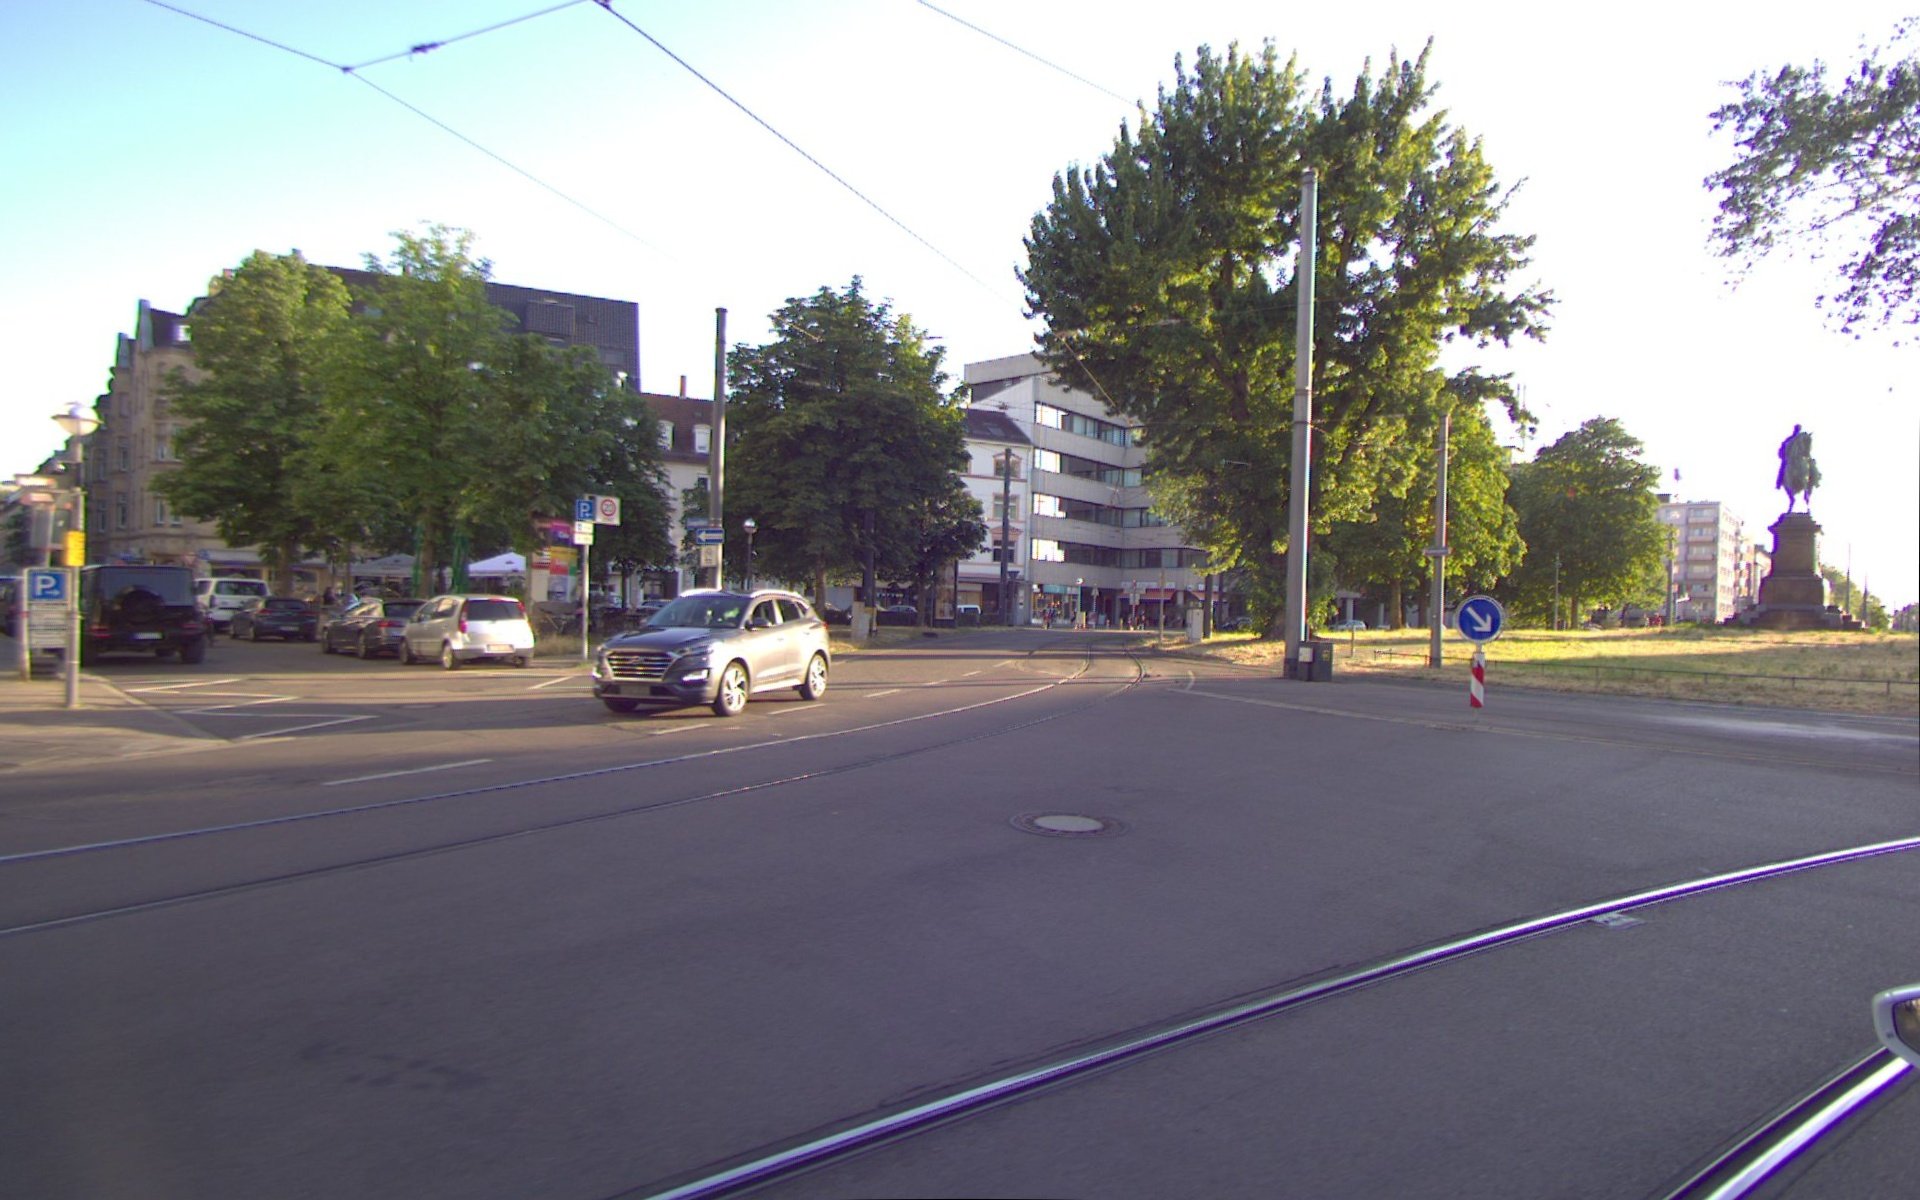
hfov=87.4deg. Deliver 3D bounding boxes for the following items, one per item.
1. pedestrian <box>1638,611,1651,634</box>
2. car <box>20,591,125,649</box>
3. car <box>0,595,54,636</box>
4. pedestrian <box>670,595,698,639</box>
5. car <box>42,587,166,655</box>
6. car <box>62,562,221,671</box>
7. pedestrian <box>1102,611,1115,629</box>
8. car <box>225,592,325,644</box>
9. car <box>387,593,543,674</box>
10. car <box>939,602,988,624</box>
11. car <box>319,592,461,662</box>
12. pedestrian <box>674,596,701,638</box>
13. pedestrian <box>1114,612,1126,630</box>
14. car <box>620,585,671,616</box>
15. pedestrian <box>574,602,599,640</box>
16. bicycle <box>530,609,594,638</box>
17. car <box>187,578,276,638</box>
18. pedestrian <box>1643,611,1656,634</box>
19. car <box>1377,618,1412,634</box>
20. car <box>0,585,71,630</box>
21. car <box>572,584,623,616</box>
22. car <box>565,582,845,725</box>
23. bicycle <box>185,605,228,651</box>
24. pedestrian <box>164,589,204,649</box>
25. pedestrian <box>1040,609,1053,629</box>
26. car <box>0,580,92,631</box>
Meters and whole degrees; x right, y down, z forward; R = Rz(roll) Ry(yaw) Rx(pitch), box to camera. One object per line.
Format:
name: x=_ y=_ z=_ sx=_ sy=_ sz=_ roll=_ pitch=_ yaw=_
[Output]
pedestrian: x=50.919 y=1.669 z=74.770 sx=0.759 sy=1.627 sz=0.636 roll=1 pitch=0 yaw=37
car: x=-25.966 y=0.558 z=29.340 sx=4.082 sy=1.535 sz=1.888 roll=1 pitch=0 yaw=43
car: x=-37.451 y=0.586 z=39.857 sx=4.082 sy=1.535 sz=1.888 roll=1 pitch=0 yaw=43
pedestrian: x=-9.101 y=0.563 z=33.171 sx=0.731 sy=1.429 sz=0.771 roll=1 pitch=0 yaw=-4
car: x=-21.402 y=0.479 z=25.060 sx=4.082 sy=1.535 sz=1.888 roll=1 pitch=0 yaw=43
car: x=-17.302 y=0.292 z=21.155 sx=4.567 sy=2.040 sz=1.916 roll=1 pitch=0 yaw=42
pedestrian: x=12.845 y=1.738 z=86.920 sx=0.760 sy=1.523 sz=0.741 roll=1 pitch=0 yaw=-23
car: x=-22.179 y=0.566 z=32.481 sx=3.584 sy=1.535 sz=1.888 roll=1 pitch=0 yaw=43
car: x=-10.753 y=0.665 z=21.703 sx=3.943 sy=1.535 sz=1.718 roll=1 pitch=0 yaw=43
car: x=0.266 y=1.057 z=82.004 sx=3.617 sy=1.726 sz=1.770 roll=2 pitch=0 yaw=-20
car: x=-14.140 y=0.616 z=24.827 sx=4.082 sy=1.535 sz=1.888 roll=1 pitch=0 yaw=43
pedestrian: x=-9.312 y=0.579 z=34.385 sx=0.731 sy=1.429 sz=0.771 roll=1 pitch=0 yaw=-4
pedestrian: x=13.955 y=1.829 z=87.438 sx=0.760 sy=1.523 sz=0.741 roll=1 pitch=0 yaw=-23
car: x=-19.028 y=0.008 z=60.694 sx=1.978 sy=1.806 sz=3.965 roll=1 pitch=0 yaw=-32
pedestrian: x=-12.566 y=0.690 z=33.782 sx=0.510 sy=1.250 sz=0.626 roll=2 pitch=1 yaw=42
bicycle: x=-12.263 y=0.730 z=30.977 sx=1.778 sy=0.849 sz=0.458 roll=1 pitch=0 yaw=-18
car: x=-26.579 y=0.270 z=36.609 sx=3.939 sy=2.057 sz=1.888 roll=1 pitch=0 yaw=43
pedestrian: x=50.740 y=1.661 z=73.955 sx=0.759 sy=1.627 sz=0.636 roll=1 pitch=0 yaw=37
car: x=43.382 y=2.591 z=100.268 sx=3.899 sy=1.439 sz=1.858 roll=1 pitch=0 yaw=-44
car: x=-33.894 y=0.250 z=36.561 sx=4.082 sy=1.535 sz=1.888 roll=1 pitch=0 yaw=43
car: x=-21.233 y=-0.020 z=58.771 sx=1.978 sy=1.806 sz=3.965 roll=1 pitch=0 yaw=-32
car: x=-3.375 y=0.675 z=14.298 sx=1.930 sy=1.699 sz=4.361 roll=-1 pitch=-1 yaw=16
bicycle: x=-20.759 y=0.749 z=27.648 sx=1.994 sy=1.166 sz=0.563 roll=2 pitch=0 yaw=42
pedestrian: x=-21.073 y=0.520 z=27.280 sx=0.761 sy=1.601 sz=0.741 roll=1 pitch=0 yaw=43
pedestrian: x=6.531 y=1.418 z=75.714 sx=0.731 sy=1.523 sz=0.770 roll=1 pitch=0 yaw=28
car: x=-29.825 y=0.161 z=32.732 sx=4.082 sy=1.535 sz=1.888 roll=1 pitch=0 yaw=43
